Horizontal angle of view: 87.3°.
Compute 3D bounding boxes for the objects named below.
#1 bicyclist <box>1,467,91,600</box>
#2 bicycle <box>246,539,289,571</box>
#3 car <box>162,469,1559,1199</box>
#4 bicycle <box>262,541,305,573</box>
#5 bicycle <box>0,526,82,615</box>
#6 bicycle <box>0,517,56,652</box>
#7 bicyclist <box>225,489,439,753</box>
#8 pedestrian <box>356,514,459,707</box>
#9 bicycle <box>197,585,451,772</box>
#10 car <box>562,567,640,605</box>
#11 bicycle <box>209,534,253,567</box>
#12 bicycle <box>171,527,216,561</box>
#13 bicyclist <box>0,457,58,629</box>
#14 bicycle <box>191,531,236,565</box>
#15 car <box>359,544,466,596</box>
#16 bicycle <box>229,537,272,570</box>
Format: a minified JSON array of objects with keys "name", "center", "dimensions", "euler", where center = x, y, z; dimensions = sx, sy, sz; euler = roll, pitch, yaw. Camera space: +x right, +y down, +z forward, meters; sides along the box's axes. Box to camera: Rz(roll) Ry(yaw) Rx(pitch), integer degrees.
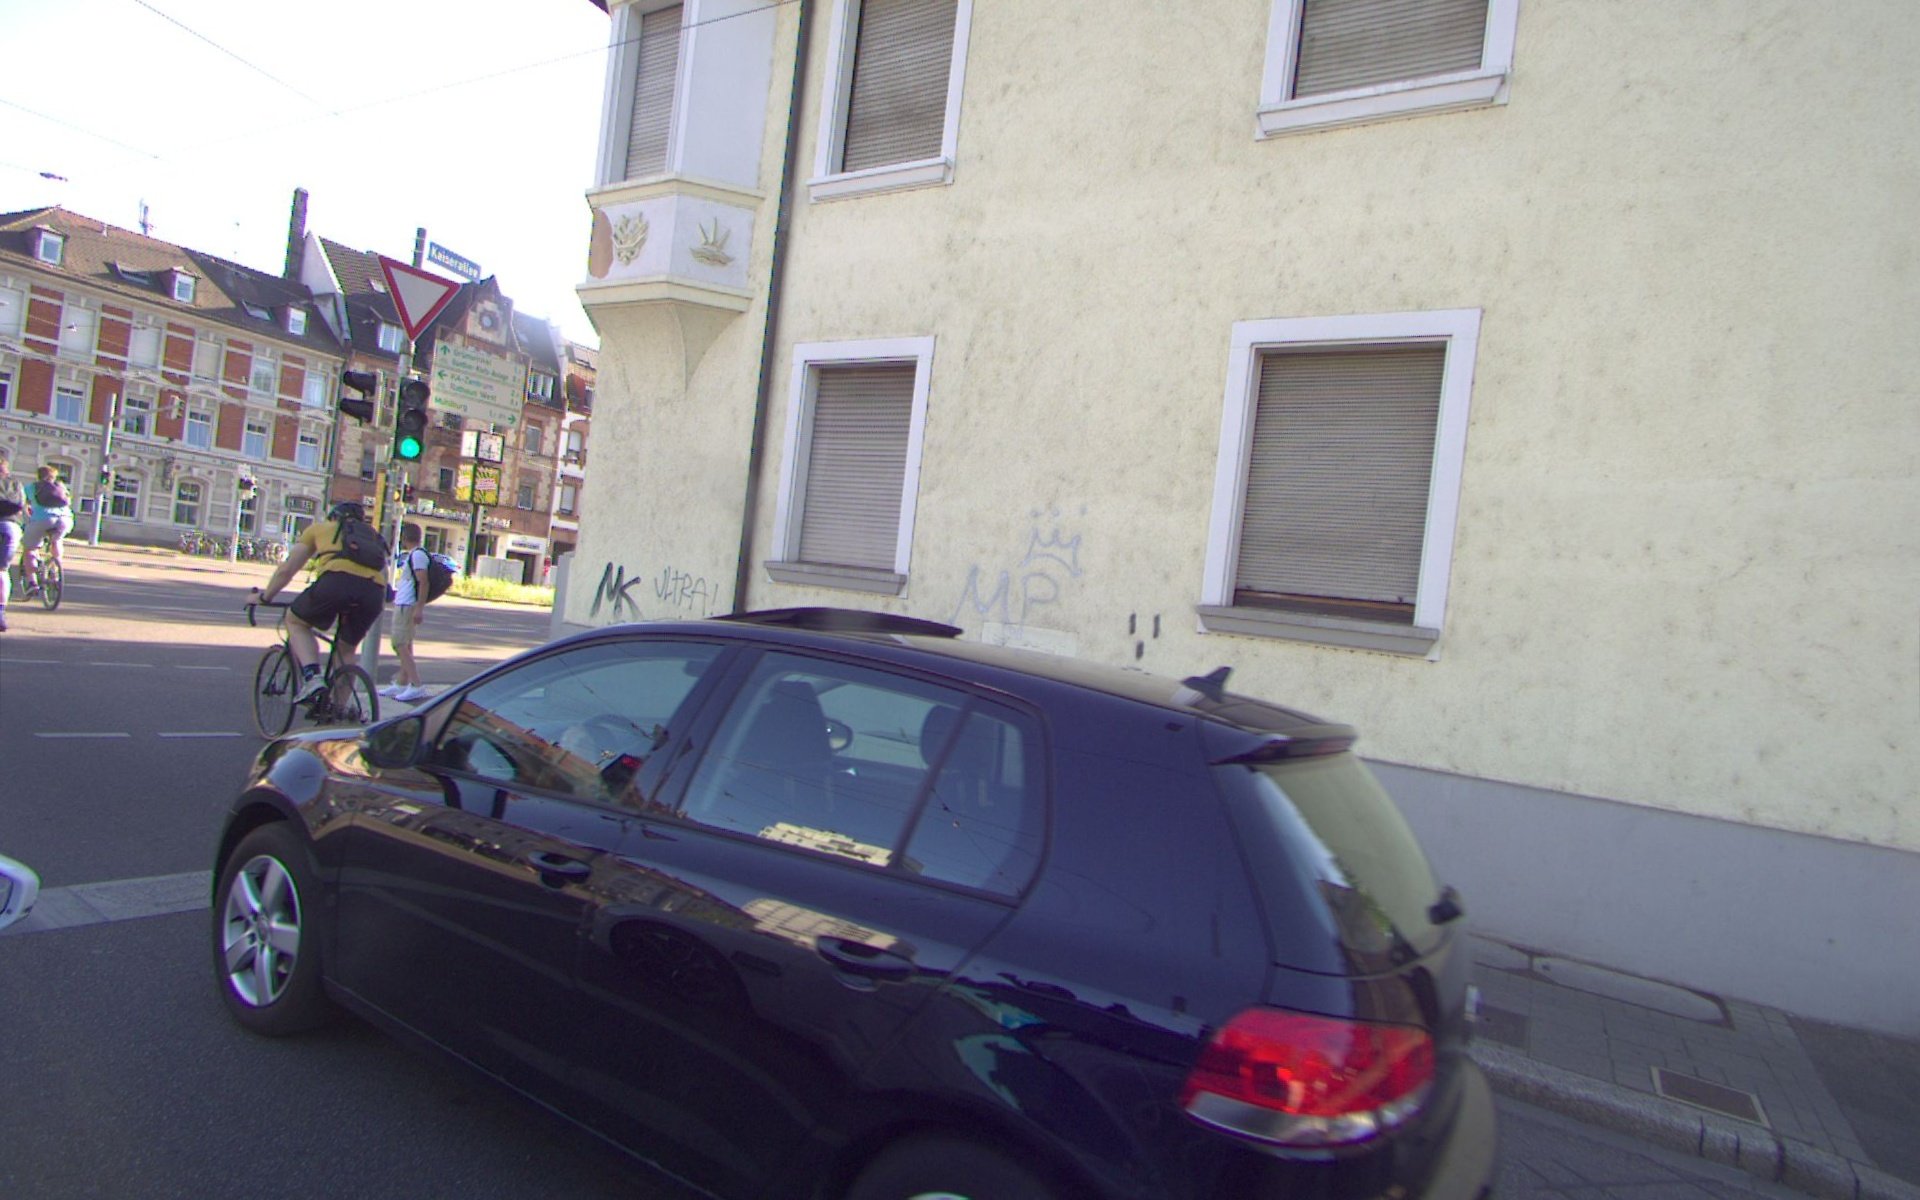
[{"name":"bicyclist","center":[-12.259,-0.886,13.486],"dimensions":[0.872,1.652,0.688],"euler":[6,-1,44]},{"name":"bicycle","center":[-33.041,-2.143,47.986],"dimensions":[2.618,1.301,0.629],"euler":[6,-1,33]},{"name":"car","center":[-0.532,0.641,3.164],"dimensions":[3.983,1.525,1.732],"euler":[9,-1,32]},{"name":"bicycle","center":[-32.672,-2.065,48.575],"dimensions":[2.618,1.301,0.629],"euler":[6,-1,33]},{"name":"bicycle","center":[-12.406,-0.415,13.567],"dimensions":[1.748,1.043,0.648],"euler":[6,-2,45]},{"name":"bicycle","center":[-9.778,-0.220,10.011],"dimensions":[1.677,1.251,0.755],"euler":[6,-2,37]},{"name":"bicyclist","center":[-4.390,0.148,7.053],"dimensions":[0.869,1.682,0.807],"euler":[6,-1,32]},{"name":"pedestrian","center":[-5.371,0.094,9.805],"dimensions":[0.631,1.780,0.584],"euler":[4,3,-7]},{"name":"bicycle","center":[-4.518,0.525,7.114],"dimensions":[1.751,1.043,0.756],"euler":[6,-2,33]},{"name":"car","center":[-23.235,-0.873,65.279],"dimensions":[1.967,1.798,4.374],"euler":[6,-2,31]},{"name":"bicycle","center":[-33.822,-2.315,46.684],"dimensions":[2.618,1.301,0.629],"euler":[6,-1,33]},{"name":"bicycle","center":[-34.618,-2.537,45.422],"dimensions":[2.618,1.301,0.693],"euler":[6,-1,33]},{"name":"bicyclist","center":[-9.612,-0.595,9.895],"dimensions":[0.870,1.625,0.806],"euler":[6,-1,37]},{"name":"bicycle","center":[-34.188,-2.389,46.060],"dimensions":[2.618,1.301,0.693],"euler":[6,-1,33]},{"name":"car","center":[-25.463,-1.376,46.898],"dimensions":[1.967,1.798,3.790],"euler":[6,-2,31]},{"name":"bicycle","center":[-33.408,-2.208,47.356],"dimensions":[2.618,1.301,0.629],"euler":[6,-1,33]}]
